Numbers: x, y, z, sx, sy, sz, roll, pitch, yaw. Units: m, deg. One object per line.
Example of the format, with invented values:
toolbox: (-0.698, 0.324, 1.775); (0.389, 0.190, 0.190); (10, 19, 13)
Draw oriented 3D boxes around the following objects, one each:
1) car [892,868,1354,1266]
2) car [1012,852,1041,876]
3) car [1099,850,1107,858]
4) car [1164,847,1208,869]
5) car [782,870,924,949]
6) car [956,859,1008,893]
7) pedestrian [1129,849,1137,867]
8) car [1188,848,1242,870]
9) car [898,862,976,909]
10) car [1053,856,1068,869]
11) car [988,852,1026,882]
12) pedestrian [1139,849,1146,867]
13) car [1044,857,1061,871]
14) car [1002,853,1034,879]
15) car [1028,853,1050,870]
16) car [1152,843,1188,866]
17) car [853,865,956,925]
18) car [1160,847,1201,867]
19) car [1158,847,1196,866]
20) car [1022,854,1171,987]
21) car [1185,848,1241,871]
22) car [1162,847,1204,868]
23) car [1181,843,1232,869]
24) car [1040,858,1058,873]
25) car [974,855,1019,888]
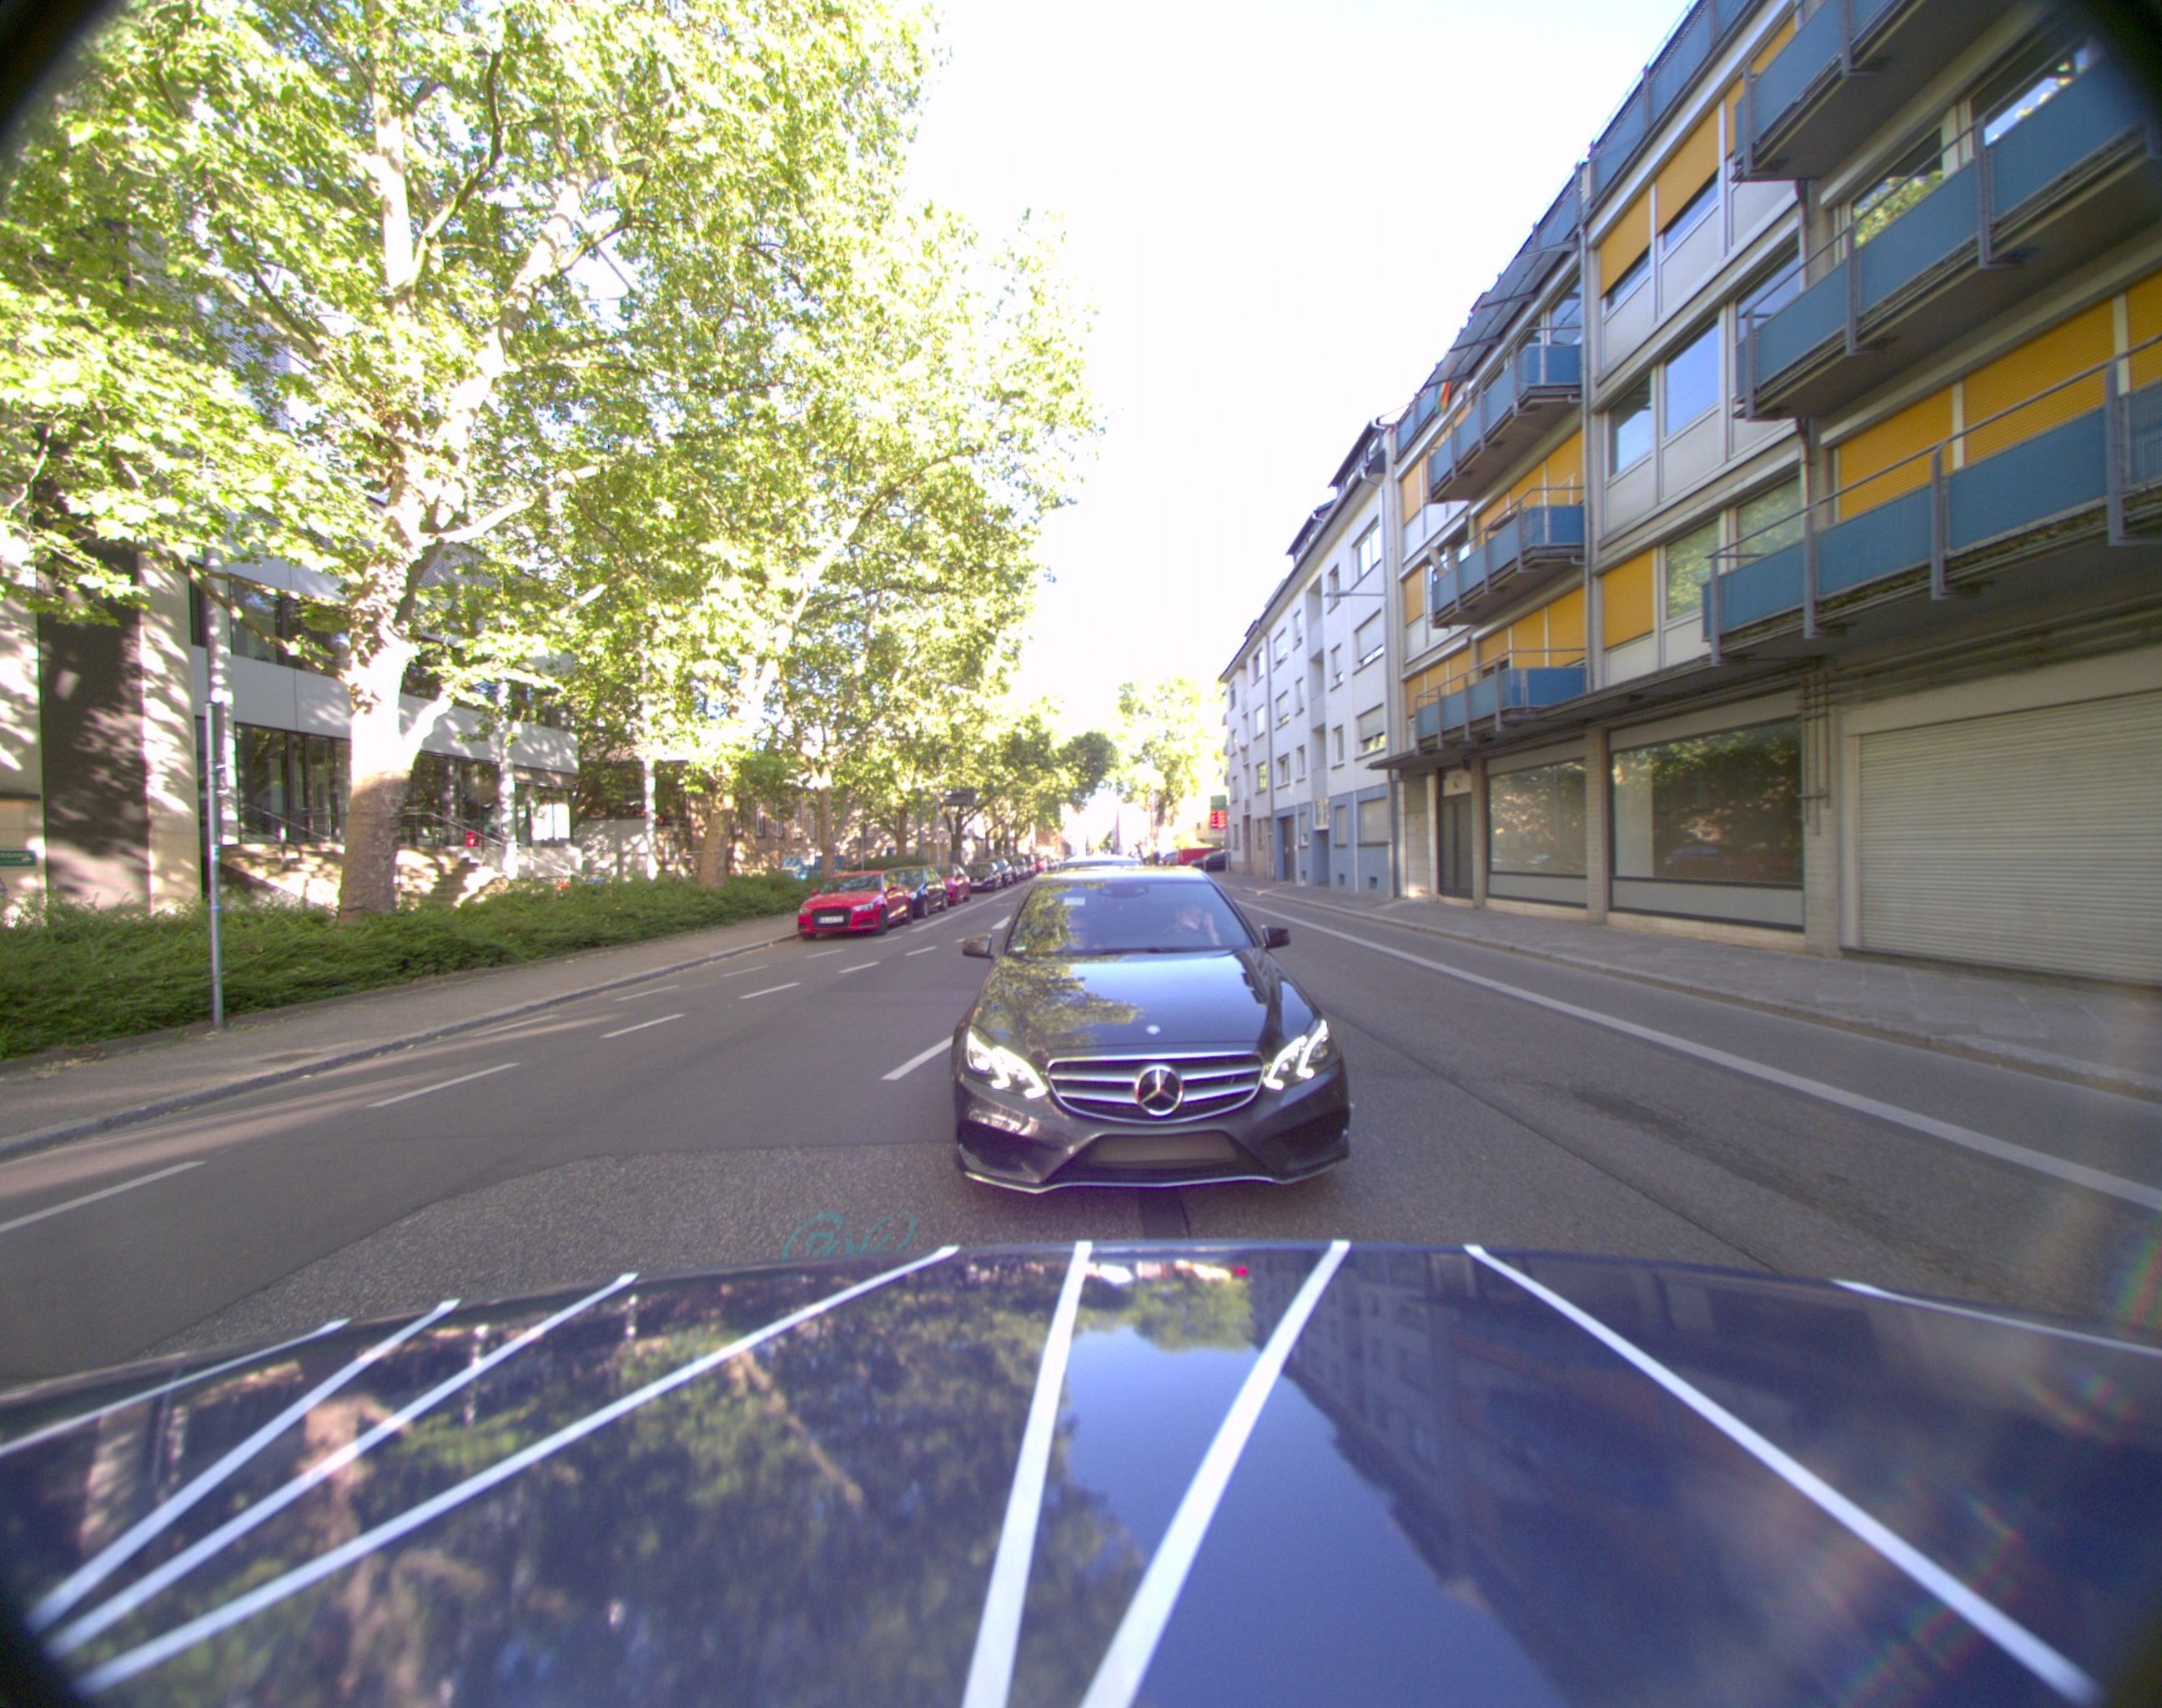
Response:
car: (0.205, 0.932, 5.392); (1.866, 1.492, 4.481); (-2, 0, 1)
car: (-4.242, 0.754, 59.741); (1.866, 1.749, 4.481); (-2, 0, 1)
car: (5.043, -0.057, 175.540); (1.866, 1.632, 4.481); (-2, 0, 1)
car: (10.252, 0.379, 74.489); (3.996, 1.936, 2.000); (-2, 1, 2)
car: (-5.103, 1.176, 17.716); (1.866, 1.442, 4.481); (-2, 0, 1)
car: (-4.754, 1.023, 37.157); (1.866, 1.442, 4.481); (-2, 0, 1)
pedestrian: (5.955, 0.499, 87.227); (0.735, 2.002, 0.797); (-2, 1, 1)
car: (10.719, 0.378, 61.177); (3.996, 1.543, 2.000); (-2, 1, 2)
car: (-5.086, 1.063, 27.410); (1.866, 1.442, 4.481); (-2, 0, 1)
car: (-2.817, 1.110, 105.175); (1.866, 1.632, 4.481); (-2, 0, 1)
car: (-4.630, 0.782, 48.118); (1.866, 1.749, 4.481); (-2, 0, 1)
pedestrian: (7.047, 0.456, 87.037); (0.735, 2.002, 1.046); (-2, 1, 0)
car: (-3.650, 1.235, 96.768); (1.866, 1.632, 4.481); (-2, 0, 1)
car: (-4.500, 0.817, 54.785); (1.866, 1.749, 4.481); (-2, 0, 1)
car: (-4.195, 0.703, 76.263); (1.866, 1.632, 4.481); (-2, 0, 1)
car: (10.494, 0.005, 89.491); (3.996, 2.505, 2.000); (-2, 1, 2)
car: (-5.042, 1.122, 22.366); (1.866, 1.442, 4.481); (-2, 0, 1)
car: (10.465, 0.309, 79.982); (3.996, 1.936, 2.000); (-2, 1, 2)
car: (10.740, 0.243, 84.964); (3.996, 1.936, 2.000); (-2, 1, 2)
car: (0.225, 0.857, 11.915); (1.866, 1.630, 4.303); (-2, 0, 1)
car: (10.178, 0.425, 58.855); (3.996, 1.543, 2.000); (-2, 1, 2)
car: (10.336, 0.346, 77.131); (3.996, 1.936, 2.000); (-2, 1, 2)
car: (10.552, 0.156, 64.008); (3.996, 1.936, 2.000); (-2, 1, 2)
car: (-3.760, 1.320, 89.970); (1.866, 1.632, 4.481); (-2, 0, 1)
car: (-4.619, 0.905, 42.192); (1.866, 1.658, 4.481); (-2, 0, 1)
